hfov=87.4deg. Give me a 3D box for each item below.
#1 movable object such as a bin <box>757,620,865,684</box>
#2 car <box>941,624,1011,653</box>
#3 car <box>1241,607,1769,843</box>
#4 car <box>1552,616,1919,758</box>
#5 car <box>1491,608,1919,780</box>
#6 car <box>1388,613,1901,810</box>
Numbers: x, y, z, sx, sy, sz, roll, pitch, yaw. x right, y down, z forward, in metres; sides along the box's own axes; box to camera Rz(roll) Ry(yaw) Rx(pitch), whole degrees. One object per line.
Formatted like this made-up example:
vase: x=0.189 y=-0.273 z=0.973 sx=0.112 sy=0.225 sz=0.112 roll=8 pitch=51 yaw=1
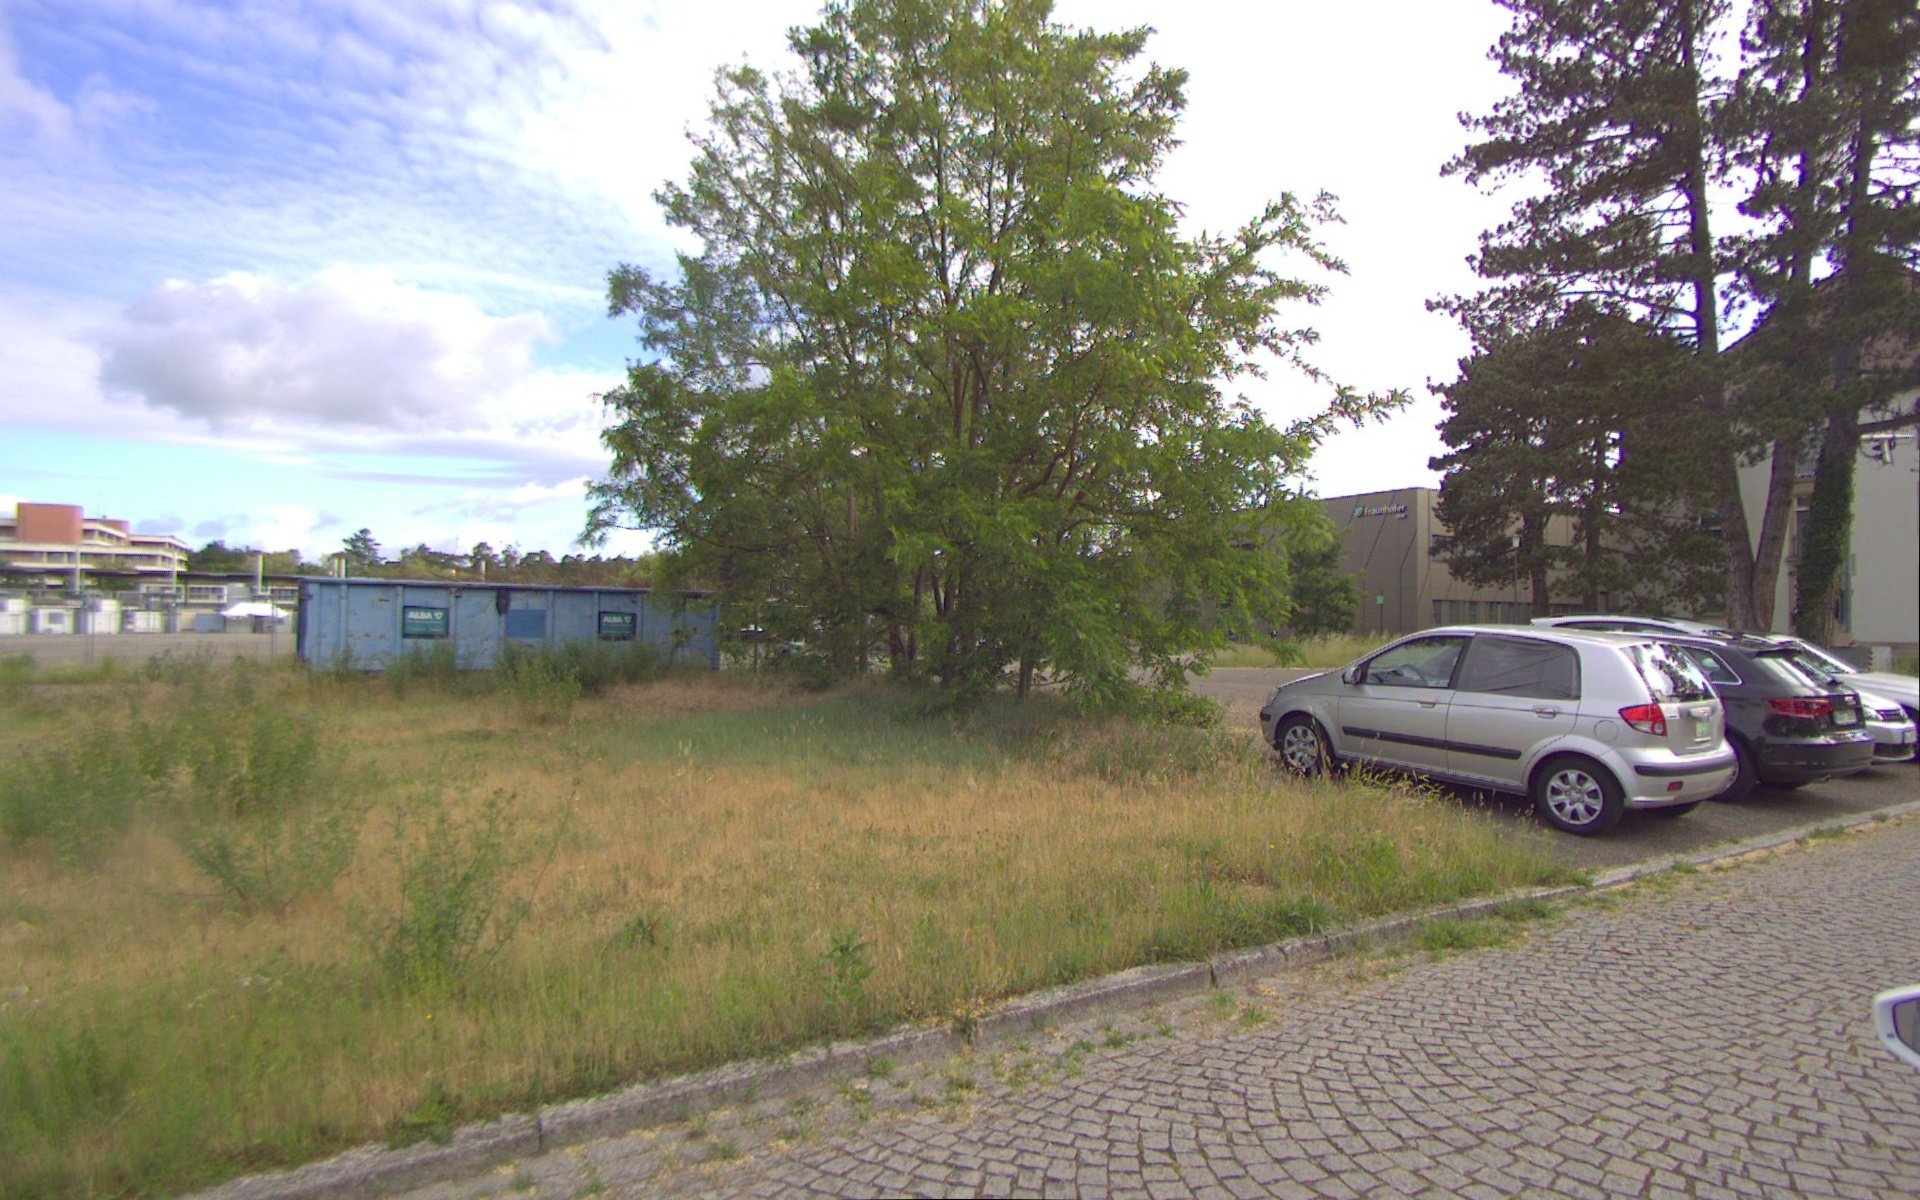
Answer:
movable object such as a bin: x=-2.963 y=0.988 z=19.723 sx=1.480 sy=1.176 sz=2.385 roll=1 pitch=-1 yaw=-25
car: x=0.772 y=1.924 z=50.635 sx=1.678 sy=1.410 sz=3.965 roll=1 pitch=-2 yaw=-32
car: x=4.539 y=0.880 z=8.844 sx=1.790 sy=1.472 sz=3.654 roll=1 pitch=1 yaw=-34
car: x=10.815 y=1.054 z=13.472 sx=1.783 sy=1.463 sz=4.618 roll=1 pitch=1 yaw=-34
car: x=8.857 y=0.968 z=12.120 sx=1.707 sy=1.568 sz=3.961 roll=1 pitch=1 yaw=-34
car: x=6.684 y=0.943 z=10.282 sx=1.731 sy=1.446 sz=3.966 roll=1 pitch=1 yaw=-31
